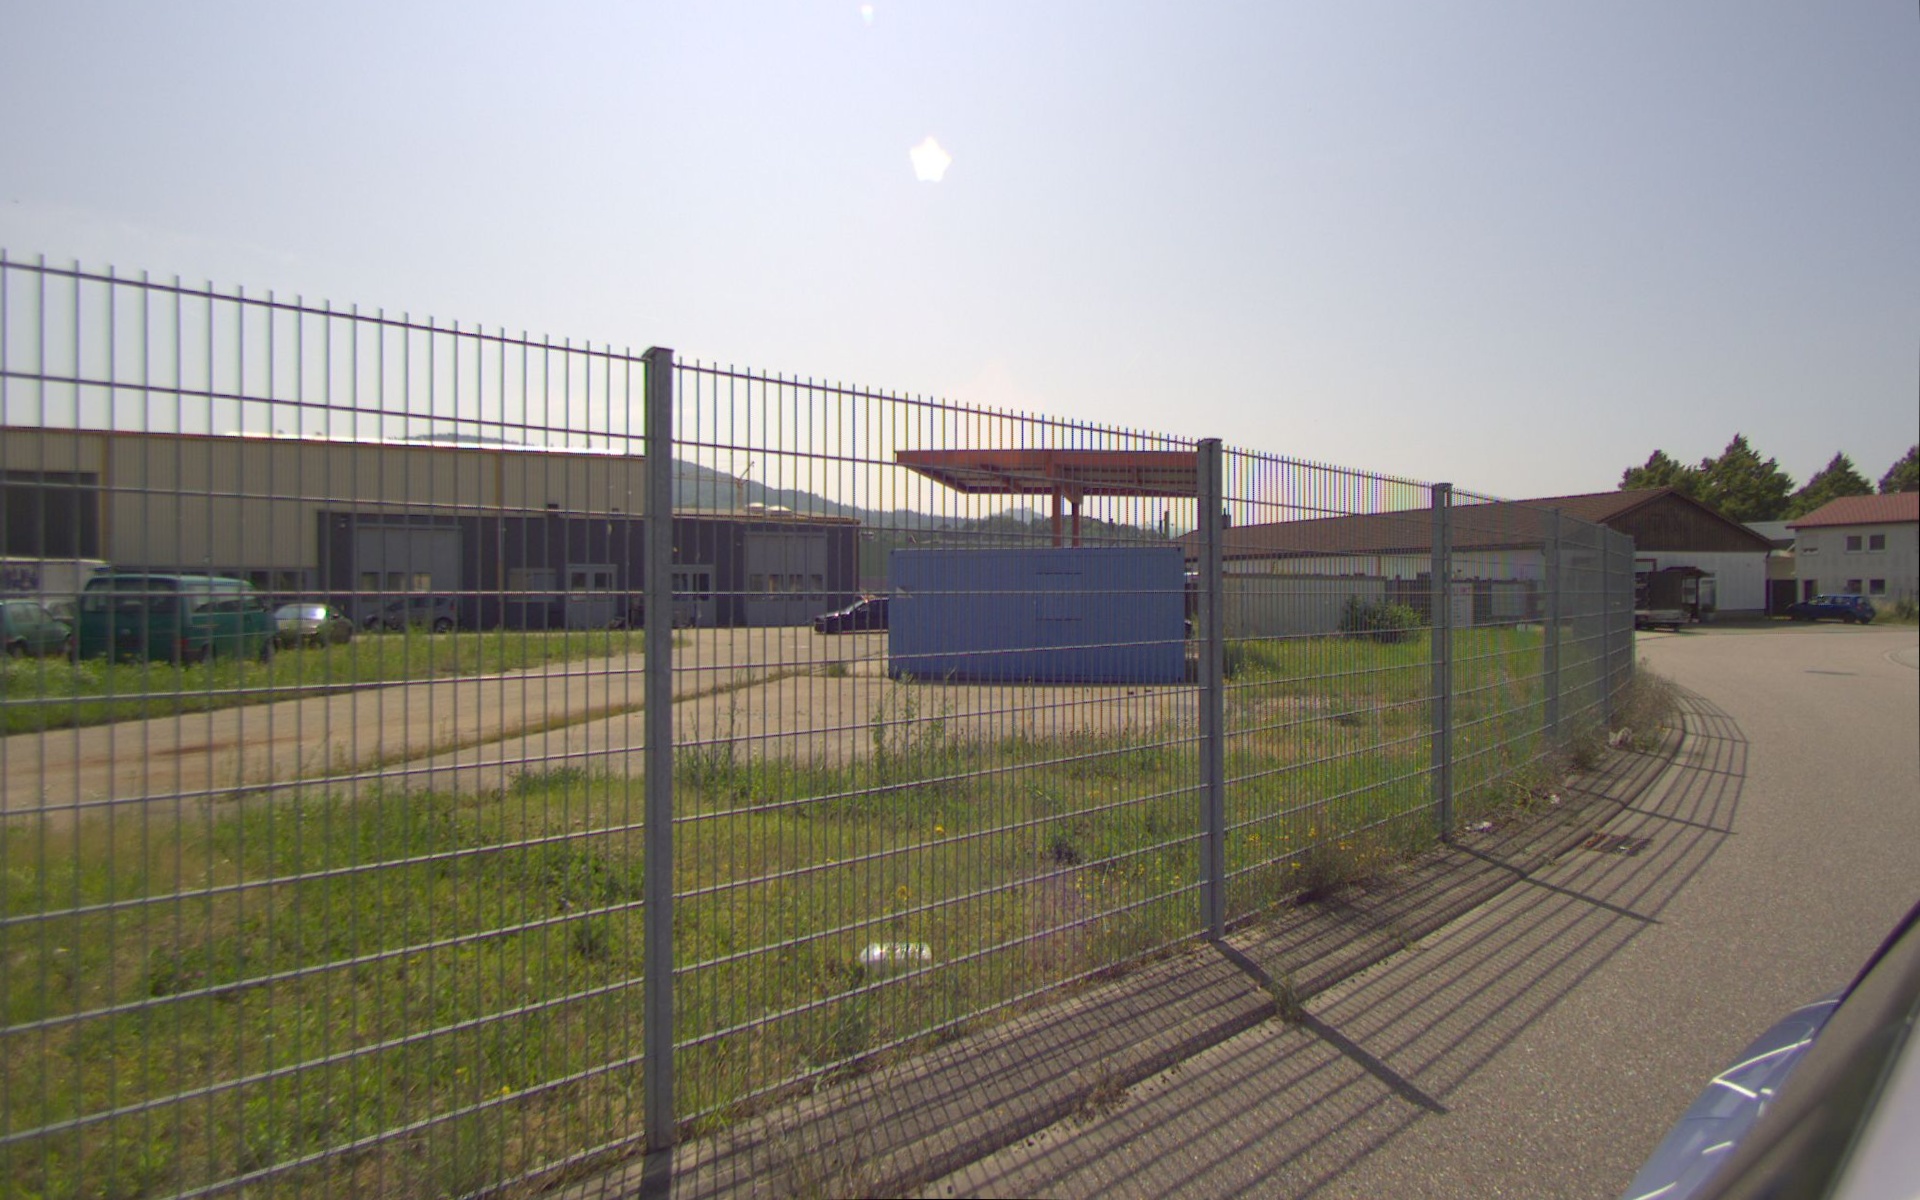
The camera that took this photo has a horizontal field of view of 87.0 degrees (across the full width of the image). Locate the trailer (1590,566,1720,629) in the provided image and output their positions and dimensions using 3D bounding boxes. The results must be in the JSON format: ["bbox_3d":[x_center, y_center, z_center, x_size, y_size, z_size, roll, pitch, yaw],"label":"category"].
[{"bbox_3d":[30.741,-0.197,44.934,1.958,2.572,4.375,0,3,-18],"label":"trailer"}]

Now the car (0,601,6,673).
[{"bbox_3d":[-15.250,0.604,14.009,1.636,1.122,3.383,0,1,-17],"label":"car"}]

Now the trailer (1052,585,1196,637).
[{"bbox_3d":[5.408,0.369,33.551,4.544,1.586,1.764,1,-1,10],"label":"trailer"}]

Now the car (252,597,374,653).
[{"bbox_3d":[-18.320,0.662,28.868,1.803,1.395,4.399,0,1,-17],"label":"car"}]

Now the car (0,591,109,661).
[{"bbox_3d":[-21.476,0.521,22.912,1.803,1.395,4.399,0,1,-17],"label":"car"}]

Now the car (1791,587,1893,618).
[{"bbox_3d":[45.885,0.100,52.729,1.549,1.411,3.656,0,3,-22],"label":"car"}]

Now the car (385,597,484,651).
[{"bbox_3d":[-15.300,0.649,29.683,1.803,1.395,4.399,0,1,-17],"label":"car"}]

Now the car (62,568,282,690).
[{"bbox_3d":[-14.618,0.446,19.104,1.803,2.007,4.399,0,1,-17],"label":"car"}]

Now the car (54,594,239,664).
[{"bbox_3d":[-18.531,0.586,23.316,1.803,1.395,4.399,0,1,-17],"label":"car"}]

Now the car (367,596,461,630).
[{"bbox_3d":[-23.505,0.549,43.693,3.447,1.395,1.846,0,1,-24],"label":"car"}]

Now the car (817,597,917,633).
[{"bbox_3d":[-3.769,0.580,40.811,3.917,1.404,1.678,0,0,-9],"label":"car"}]

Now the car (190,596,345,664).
[{"bbox_3d":[-16.309,0.637,24.111,1.803,1.395,4.399,0,1,-17],"label":"car"}]
